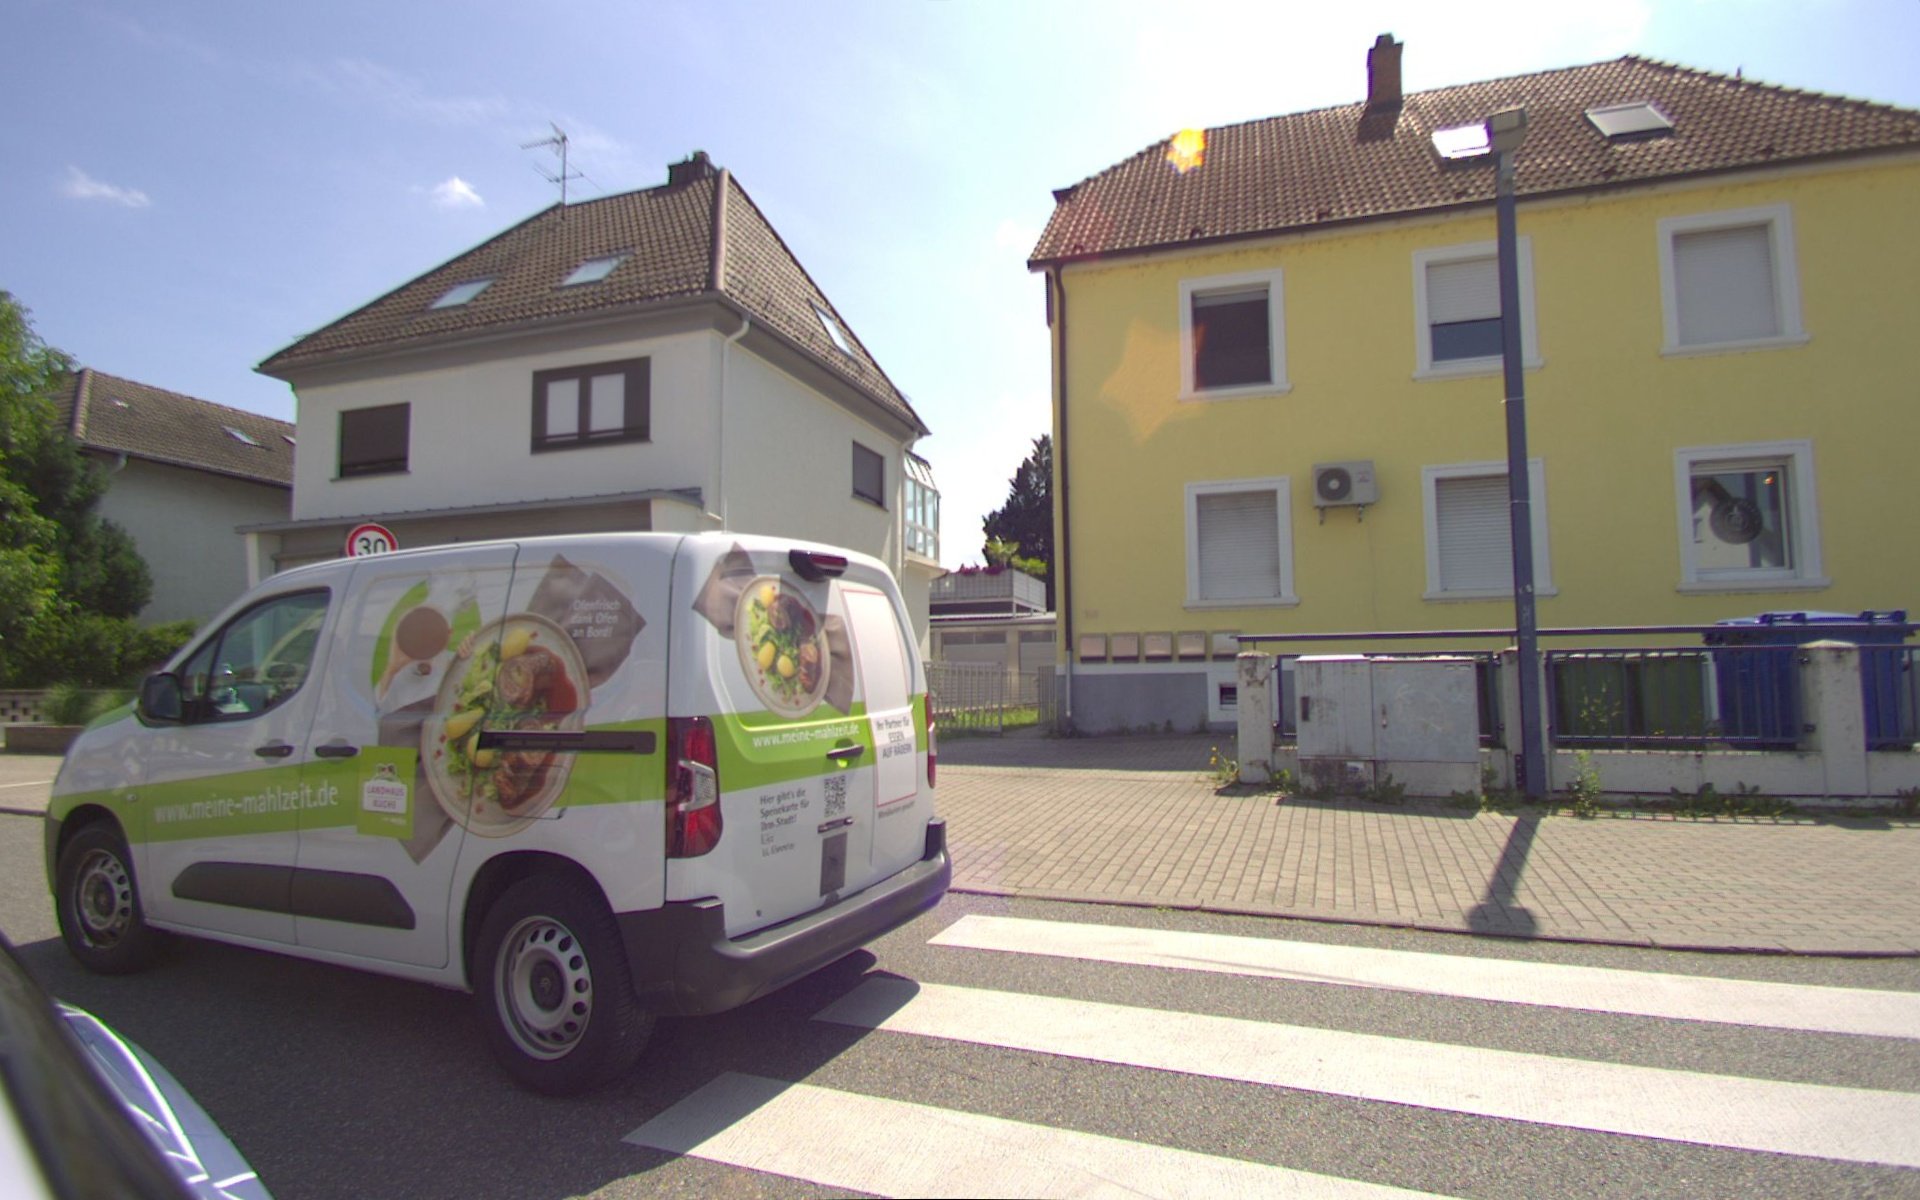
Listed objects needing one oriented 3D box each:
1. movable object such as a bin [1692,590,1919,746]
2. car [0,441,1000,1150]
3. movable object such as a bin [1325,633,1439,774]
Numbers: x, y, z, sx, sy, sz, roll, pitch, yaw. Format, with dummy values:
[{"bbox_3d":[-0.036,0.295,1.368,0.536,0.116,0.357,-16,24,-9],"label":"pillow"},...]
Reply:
[{"bbox_3d":[7.100,0.575,8.466,1.261,1.223,0.840,-1,-4,7],"label":"movable object such as a bin"},{"bbox_3d":[-2.278,0.607,4.541,4.537,1.869,1.801,-3,-1,28],"label":"car"},{"bbox_3d":[3.934,0.956,9.494,0.896,1.235,0.881,-2,-4,22],"label":"movable object such as a bin"}]
